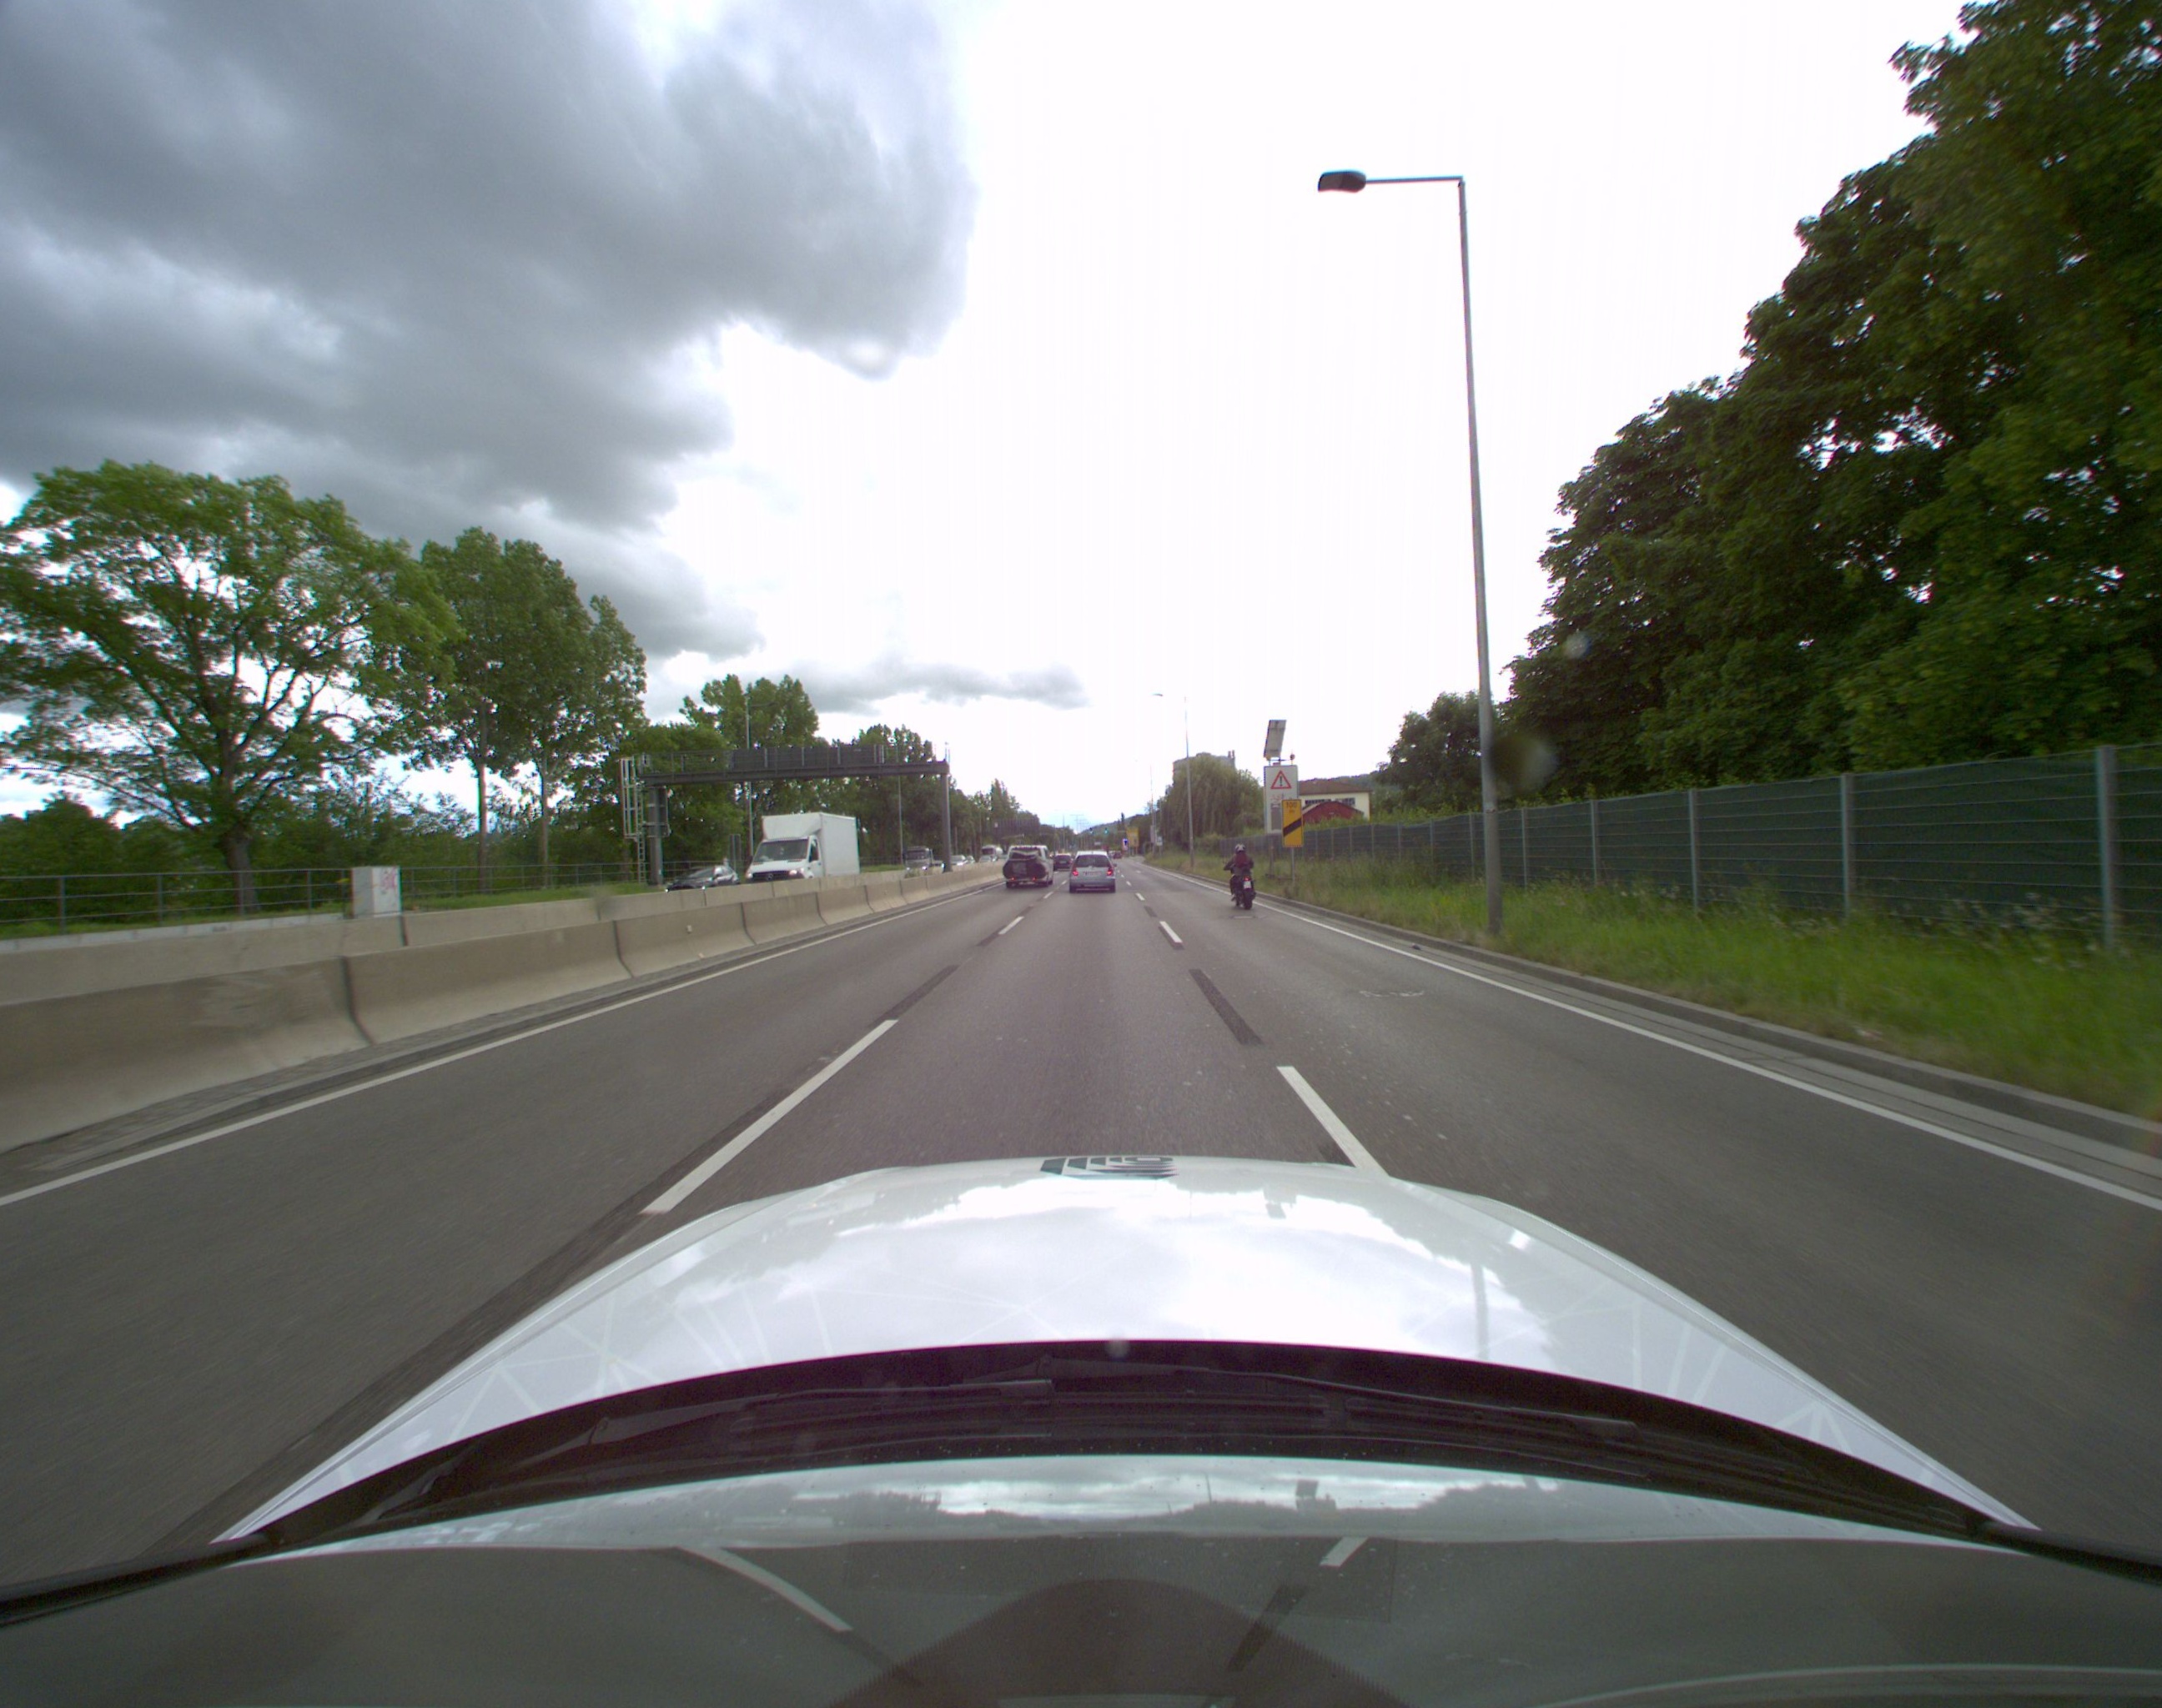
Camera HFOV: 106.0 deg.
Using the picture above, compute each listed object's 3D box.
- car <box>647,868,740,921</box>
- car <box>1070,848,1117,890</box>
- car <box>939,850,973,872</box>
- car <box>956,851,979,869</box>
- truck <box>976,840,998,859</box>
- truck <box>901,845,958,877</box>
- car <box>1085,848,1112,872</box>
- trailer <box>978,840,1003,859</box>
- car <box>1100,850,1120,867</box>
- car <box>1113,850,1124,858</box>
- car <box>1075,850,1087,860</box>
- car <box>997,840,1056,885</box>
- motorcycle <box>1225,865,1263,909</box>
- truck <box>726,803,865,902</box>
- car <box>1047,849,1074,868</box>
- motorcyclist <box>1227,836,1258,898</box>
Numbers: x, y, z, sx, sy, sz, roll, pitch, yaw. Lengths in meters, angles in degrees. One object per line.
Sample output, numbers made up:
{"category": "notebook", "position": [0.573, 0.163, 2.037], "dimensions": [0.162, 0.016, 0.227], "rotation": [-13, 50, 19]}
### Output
{"category": "car", "position": [-16.136, 1.632, 34.154], "dimensions": [1.987, 2.013, 3.999], "rotation": [0, 0, -1]}
{"category": "car", "position": [0.506, 0.536, 32.042], "dimensions": [1.704, 1.530, 4.001], "rotation": [0, 0, 1]}
{"category": "car", "position": [-9.947, 0.526, 65.087], "dimensions": [1.919, 1.618, 4.457], "rotation": [0, 0, 2]}
{"category": "car", "position": [-12.382, 0.661, 89.397], "dimensions": [1.809, 1.877, 4.102], "rotation": [0, 0, 2]}
{"category": "truck", "position": [-15.654, -0.770, 136.250], "dimensions": [3.089, 3.219, 5.390], "rotation": [0, 0, -1]}
{"category": "truck", "position": [-15.961, 0.577, 87.197], "dimensions": [2.844, 3.107, 15.888], "rotation": [0, 0, 1]}
{"category": "car", "position": [1.316, 0.426, 59.331], "dimensions": [1.900, 1.684, 4.002], "rotation": [0, 0, 2]}
{"category": "trailer", "position": [-15.705, -0.812, 141.582], "dimensions": [3.091, 3.220, 11.665], "rotation": [0, 0, -1]}
{"category": "car", "position": [2.641, 0.415, 74.806], "dimensions": [1.833, 1.464, 4.001], "rotation": [0, 0, 1]}
{"category": "car", "position": [7.414, 0.077, 161.684], "dimensions": [1.987, 1.552, 4.000], "rotation": [0, 0, 0]}
{"category": "car", "position": [0.063, 0.161, 138.722], "dimensions": [1.987, 1.552, 4.000], "rotation": [0, 0, 0]}
{"category": "car", "position": [-2.404, 0.346, 36.981], "dimensions": [2.206, 1.925, 5.004], "rotation": [0, 0, 1]}
{"category": "motorcycle", "position": [4.269, 0.841, 21.481], "dimensions": [0.703, 1.040, 2.029], "rotation": [0, 0, 3]}
{"category": "truck", "position": [-9.986, -0.073, 29.365], "dimensions": [2.395, 3.107, 7.203], "rotation": [0, 0, 1]}
{"category": "car", "position": [-1.659, 0.358, 67.999], "dimensions": [1.986, 1.552, 4.002], "rotation": [0, 0, 2]}
{"category": "motorcyclist", "position": [4.260, 0.332, 21.504], "dimensions": [0.682, 1.610, 0.846], "rotation": [0, 0, 3]}
